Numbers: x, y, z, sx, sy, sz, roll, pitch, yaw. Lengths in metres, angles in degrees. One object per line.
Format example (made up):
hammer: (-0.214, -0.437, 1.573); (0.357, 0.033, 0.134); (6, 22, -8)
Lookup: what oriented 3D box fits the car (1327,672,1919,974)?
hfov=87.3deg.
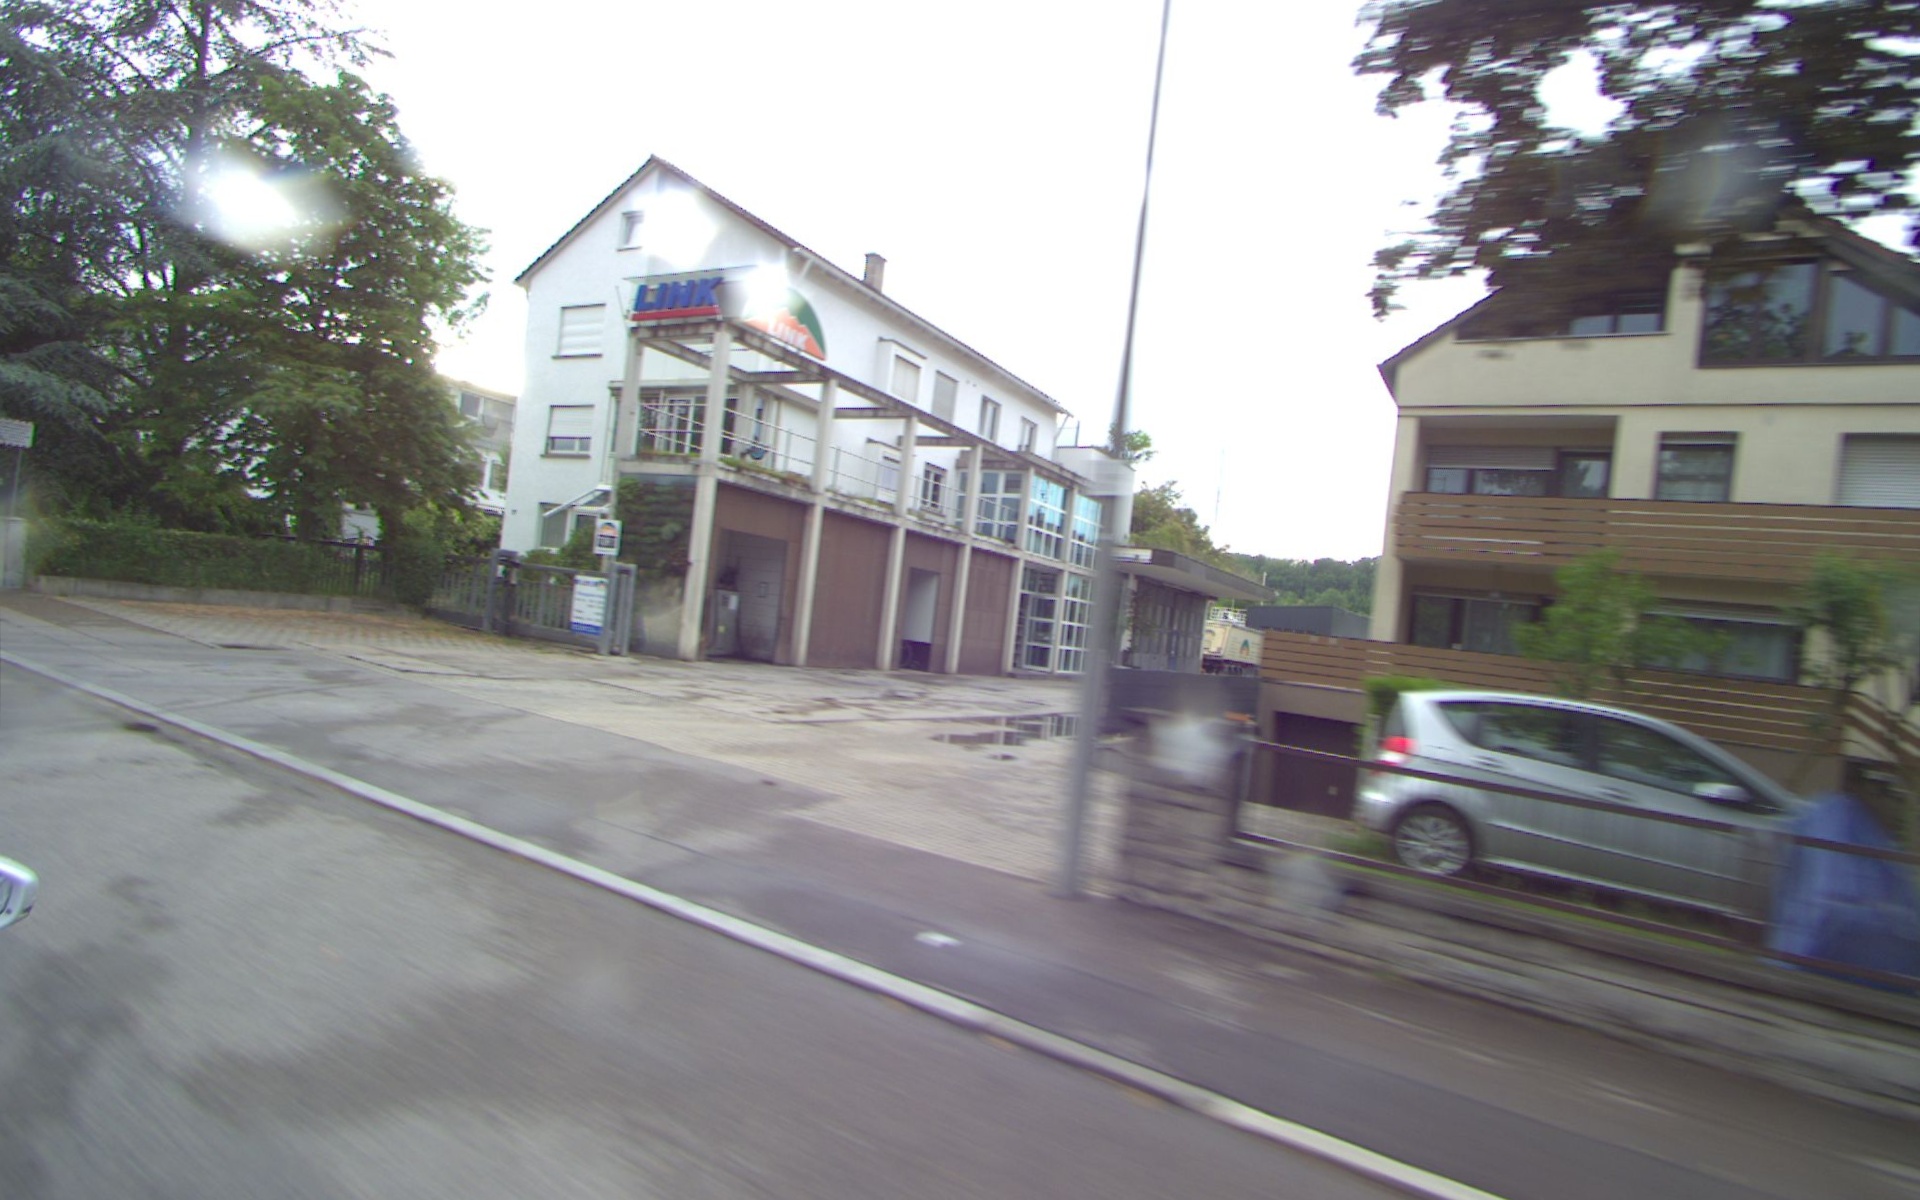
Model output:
car: (5.329, 1.624, 8.258); (4.046, 1.506, 1.748); (7, -1, 27)
